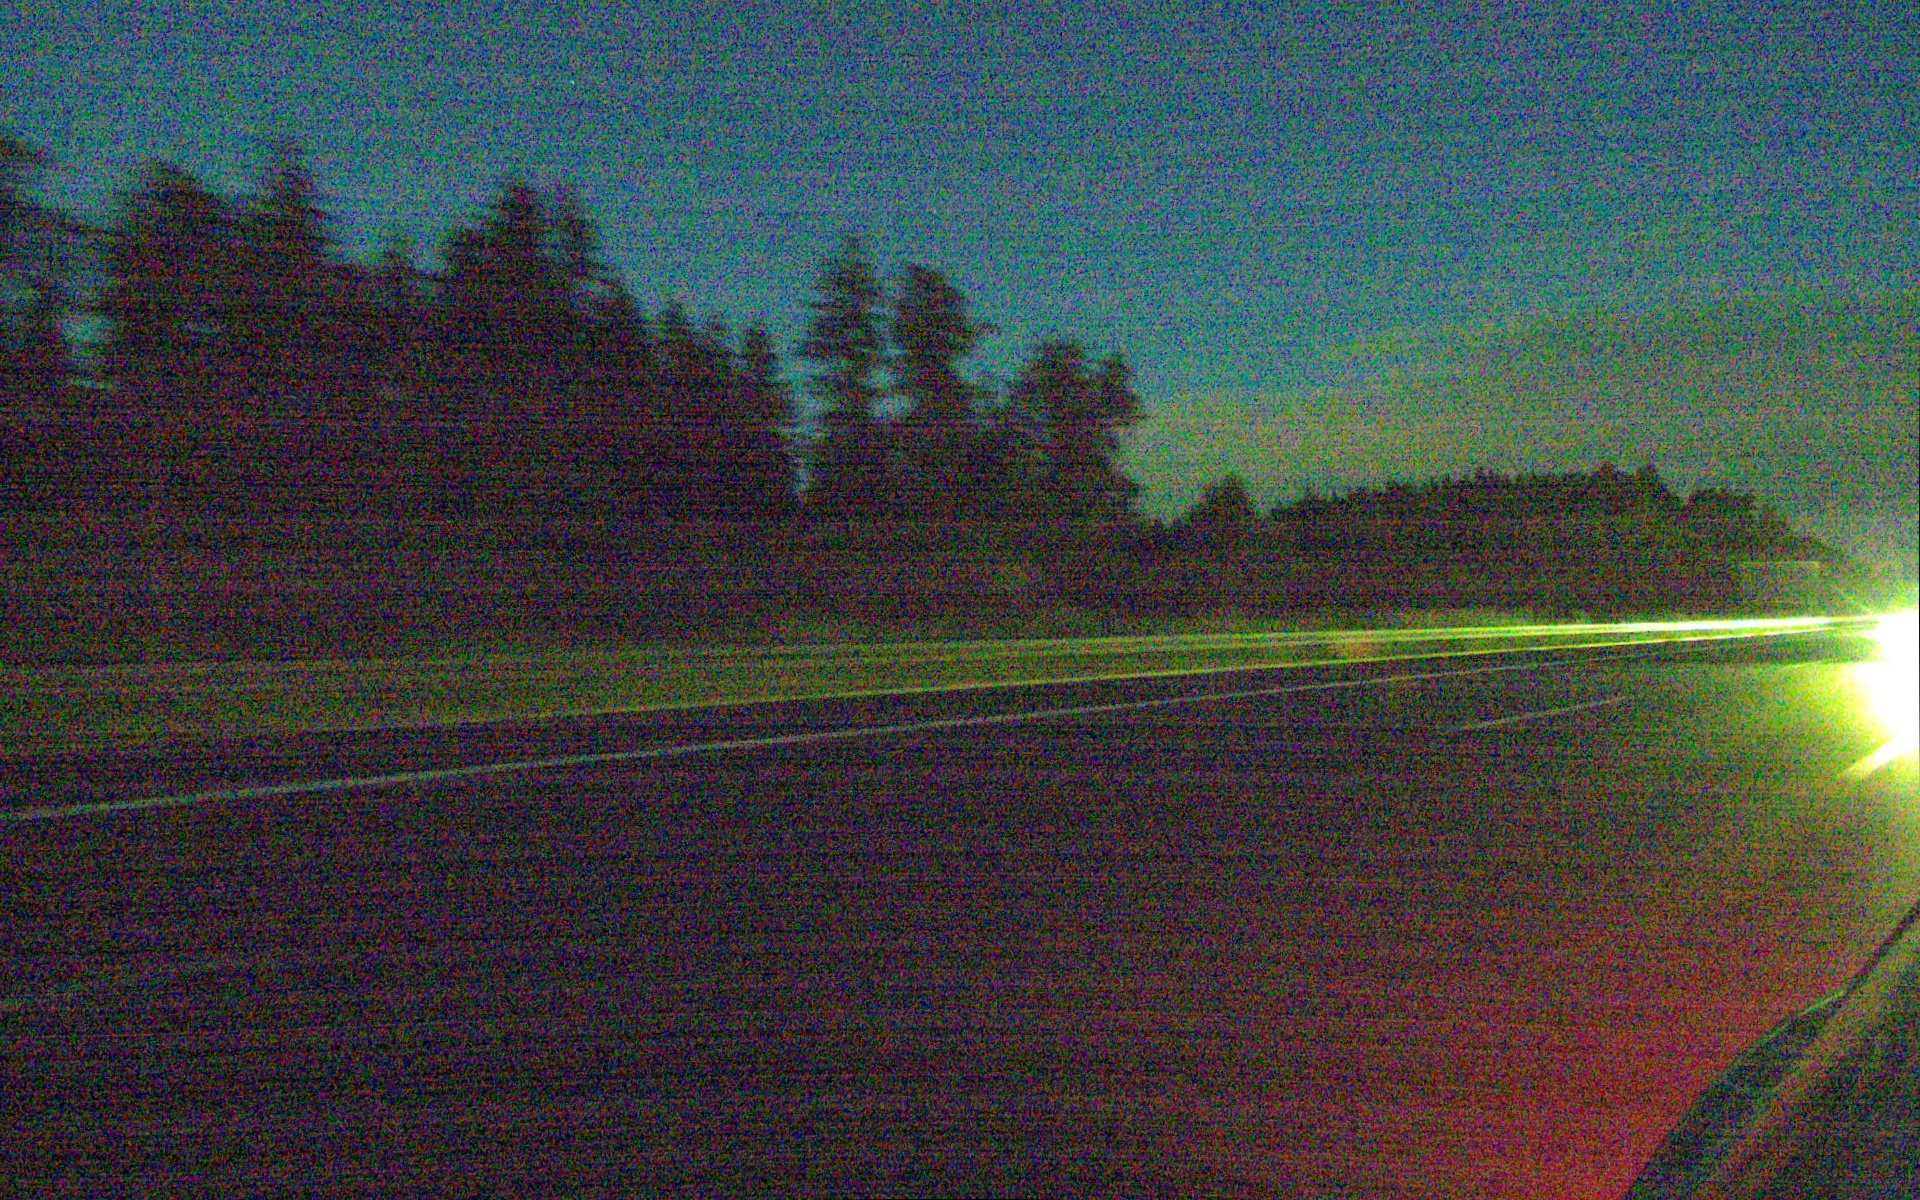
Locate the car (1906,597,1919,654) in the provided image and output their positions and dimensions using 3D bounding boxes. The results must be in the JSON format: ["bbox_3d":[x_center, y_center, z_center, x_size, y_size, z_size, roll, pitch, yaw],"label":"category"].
[{"bbox_3d":[26.214,0.644,26.409,4.982,1.419,1.837,1,-2,-43],"label":"car"}]
